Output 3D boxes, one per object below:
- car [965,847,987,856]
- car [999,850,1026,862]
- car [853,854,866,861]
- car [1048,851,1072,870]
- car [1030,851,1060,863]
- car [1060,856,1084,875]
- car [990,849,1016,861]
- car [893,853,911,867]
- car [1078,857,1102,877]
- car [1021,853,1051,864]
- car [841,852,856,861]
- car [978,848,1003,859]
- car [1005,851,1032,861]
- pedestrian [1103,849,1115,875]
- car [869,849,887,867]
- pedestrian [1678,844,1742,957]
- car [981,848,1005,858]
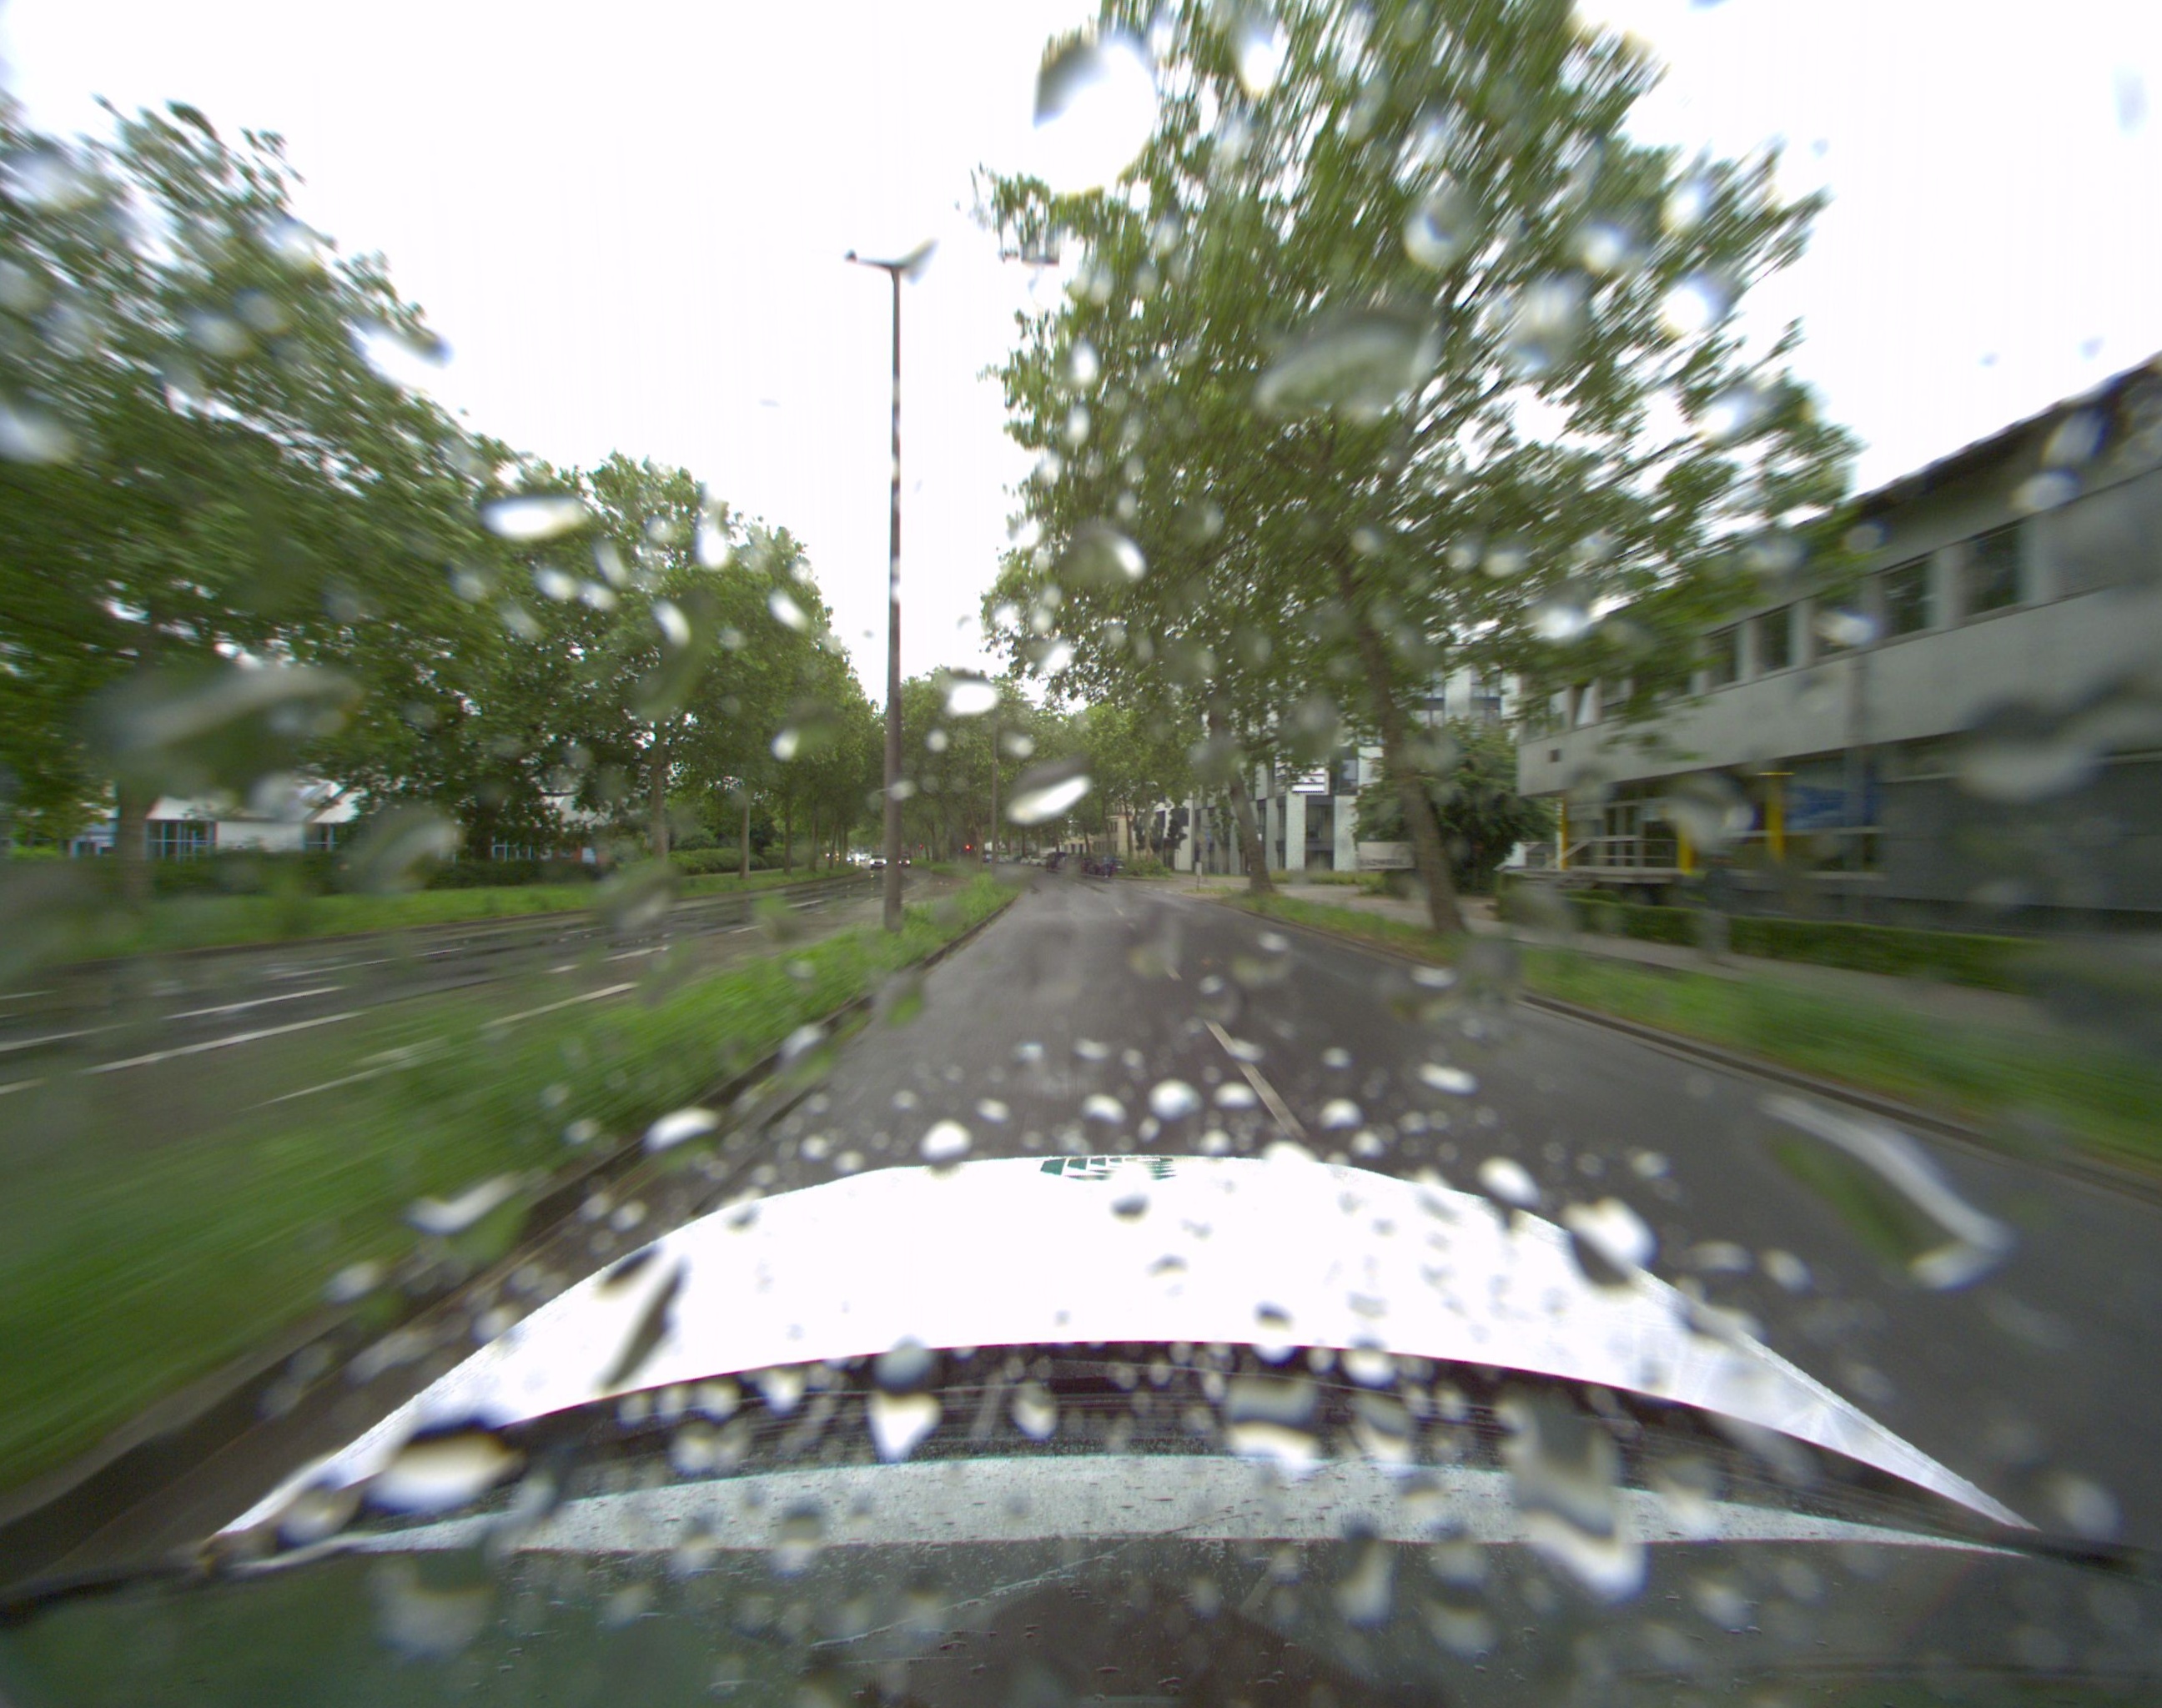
[{"bbox_3d":[-20.609,-0.496,160.184,4.002,1.820,1.986,0,1,-21],"label":"car"},{"bbox_3d":[-11.100,0.304,131.797,4.006,1.831,1.984,0,1,-25],"label":"car"},{"bbox_3d":[-43.271,0.679,159.003,1.771,1.226,3.752,0,1,-25],"label":"car"},{"bbox_3d":[-2.485,0.701,96.019,2.123,2.088,3.985,0,1,-11],"label":"car"},{"bbox_3d":[-5.021,0.461,114.282,3.876,1.650,1.877,0,1,-17],"label":"car"},{"bbox_3d":[-0.952,1.140,84.347,1.993,1.782,3.988,0,1,-9],"label":"car"},{"bbox_3d":[-13.075,0.166,137.053,4.002,1.820,1.986,0,1,-21],"label":"car"},{"bbox_3d":[-24.387,0.842,111.085,1.999,1.716,3.976,0,1,-18],"label":"car"},{"bbox_3d":[0.815,1.207,77.357,1.990,1.782,3.995,1,1,-4],"label":"car"},{"bbox_3d":[-6.531,0.593,117.907,3.883,1.493,1.874,0,1,-22],"label":"car"},{"bbox_3d":[-42.217,0.408,147.720,2.003,1.585,3.968,0,1,-25],"label":"car"},{"bbox_3d":[-16.218,-0.073,145.516,4.002,1.820,1.986,0,1,-21],"label":"car"},{"bbox_3d":[-9.741,0.337,126.862,3.883,1.504,1.874,0,1,-22],"label":"car"},{"bbox_3d":[2.147,0.596,61.886,0.852,1.950,0.708,1,1,-4],"label":"pedestrian"},{"bbox_3d":[-23.916,0.416,95.893,1.985,2.013,3.979,0,1,-16],"label":"car"},{"bbox_3d":[9.727,0.690,12.623,0.664,1.668,0.830,1,1,31],"label":"pedestrian"},{"bbox_3d":[-16.196,-0.173,149.767,4.002,1.820,1.986,0,1,-21],"label":"car"}]
